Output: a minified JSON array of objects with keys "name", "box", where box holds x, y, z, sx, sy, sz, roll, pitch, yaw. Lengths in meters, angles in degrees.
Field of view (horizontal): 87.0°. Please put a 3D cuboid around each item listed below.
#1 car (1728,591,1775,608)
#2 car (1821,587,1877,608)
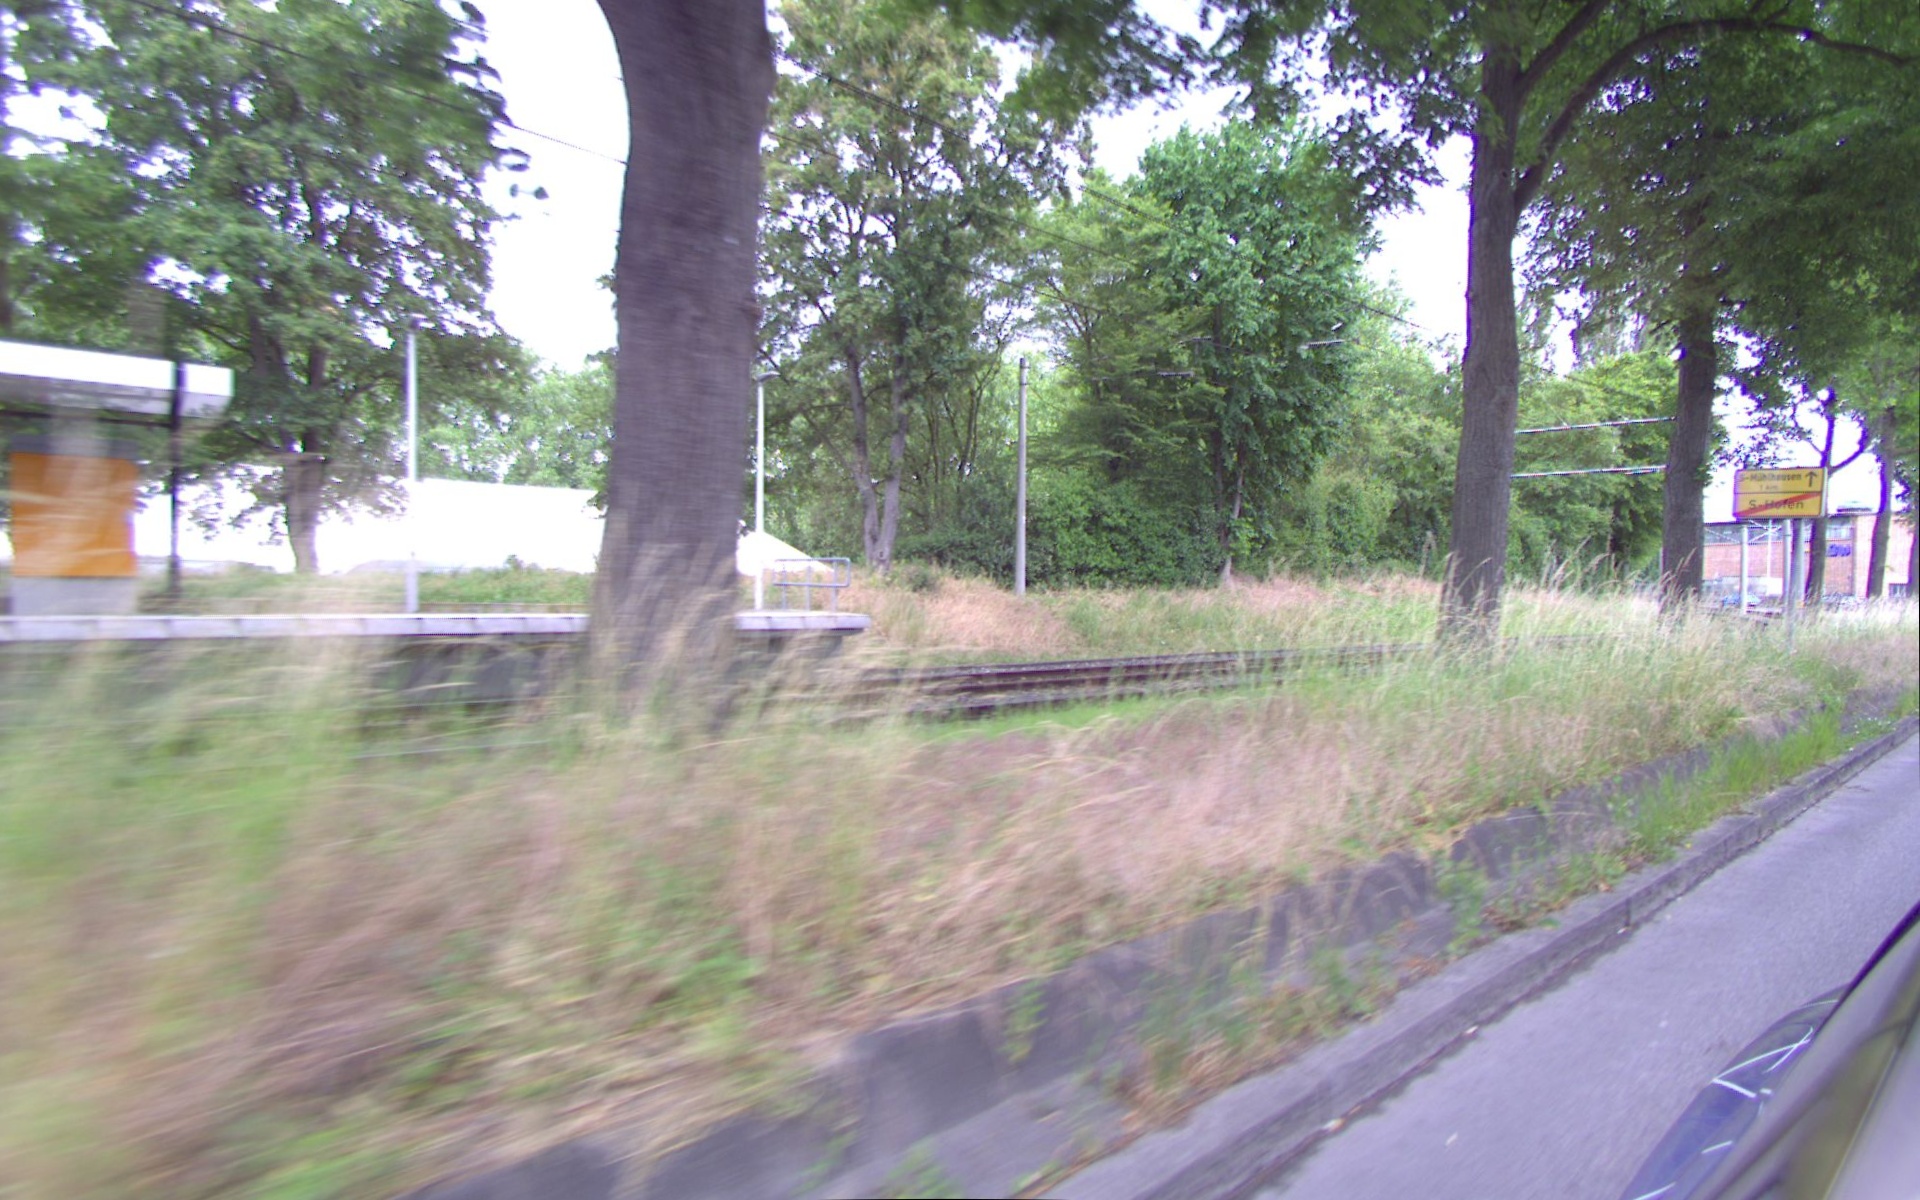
[{"name":"car","box":[72.957,-0.069,93.322,1.557,1.505,3.691,-1,-1,4]},{"name":"car","box":[71.832,-0.215,81.838,1.699,1.627,3.998,0,0,13]}]
